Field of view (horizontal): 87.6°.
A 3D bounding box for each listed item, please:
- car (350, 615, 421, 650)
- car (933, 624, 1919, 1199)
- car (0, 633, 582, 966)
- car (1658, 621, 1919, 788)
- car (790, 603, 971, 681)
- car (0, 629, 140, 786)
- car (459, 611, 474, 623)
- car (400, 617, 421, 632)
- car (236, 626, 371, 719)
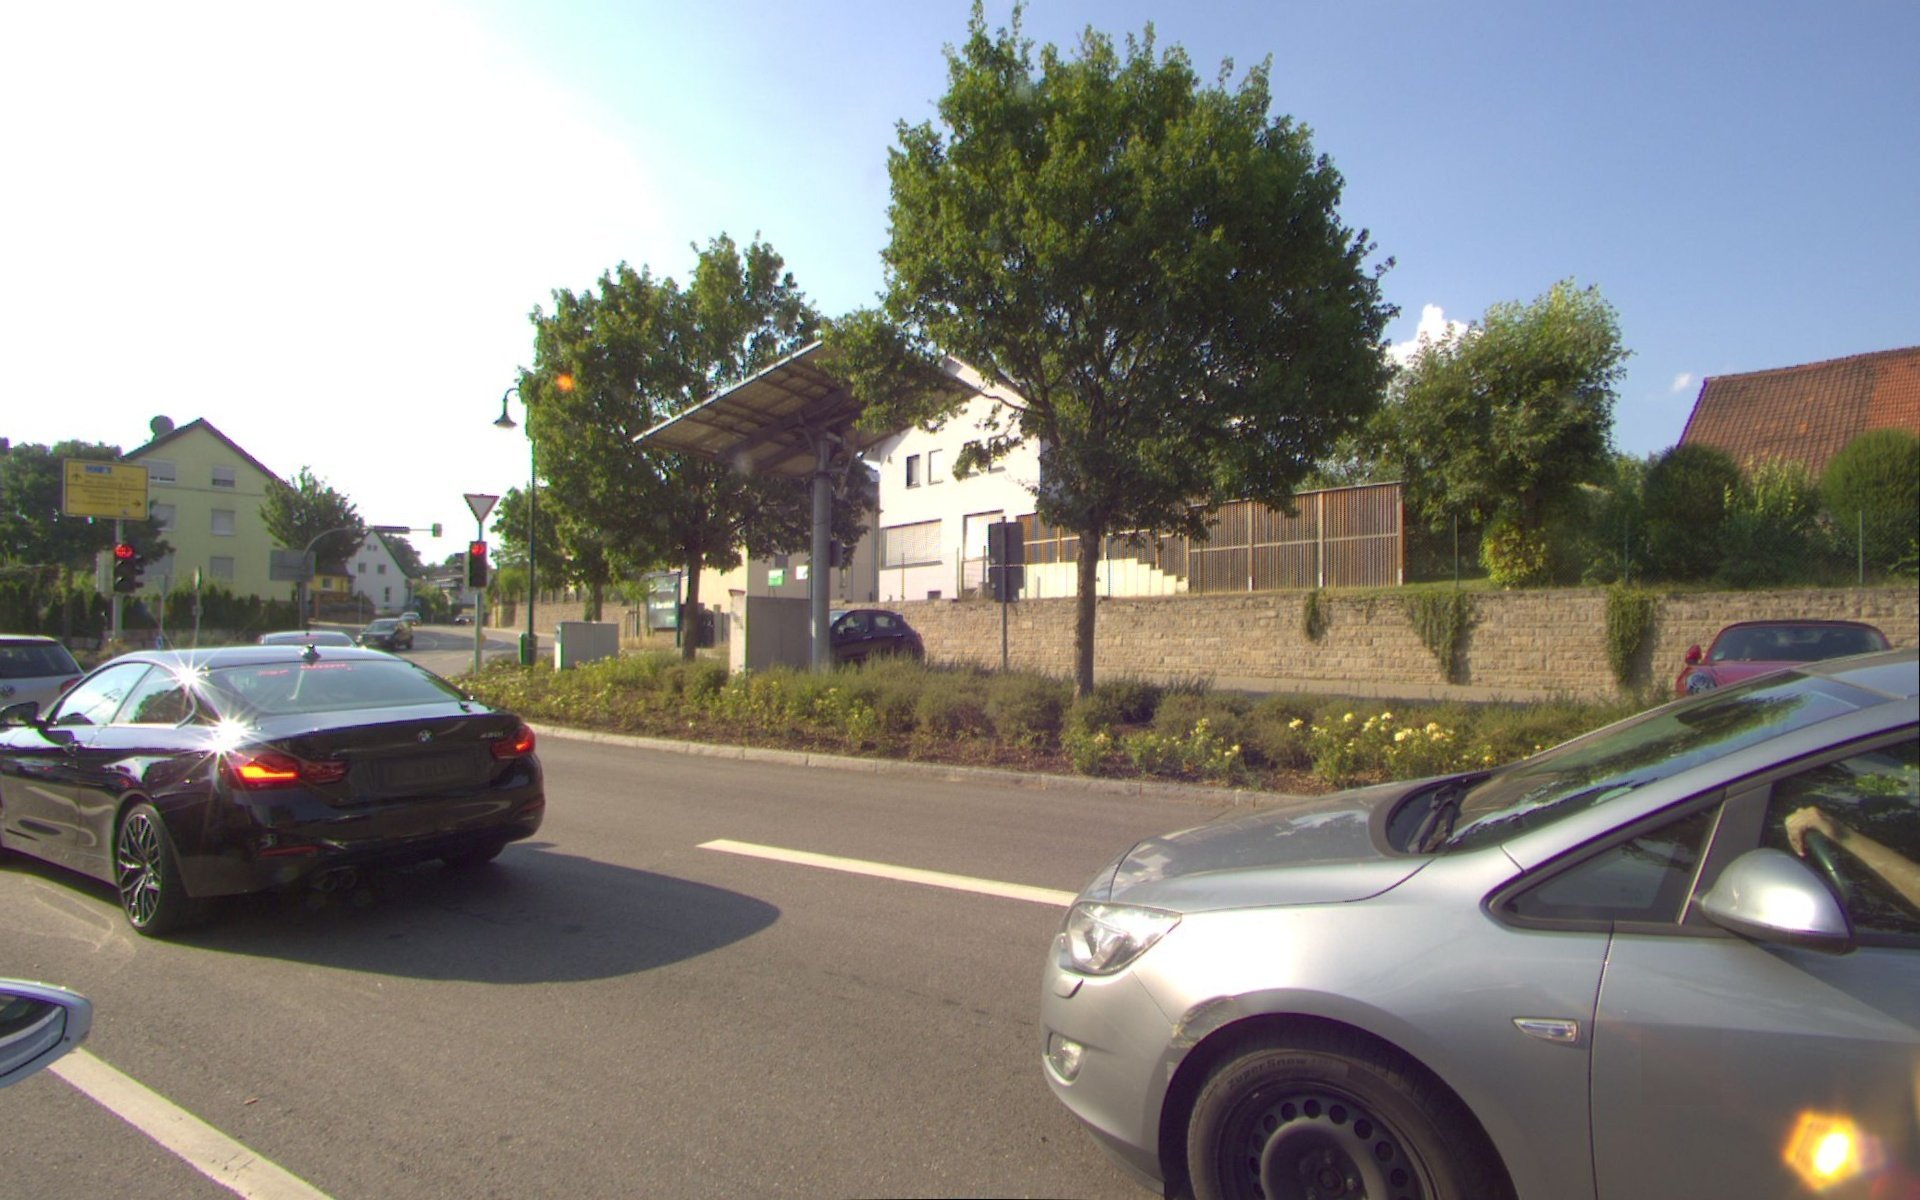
[{"bbox_3d":[-28.649,1.584,50.078,1.758,1.528,4.065,0,1,-9],"label":"car"},{"bbox_3d":[2.122,0.788,2.211,4.107,1.460,1.741,-1,-2,32],"label":"car"},{"bbox_3d":[-4.456,0.913,6.227,4.287,1.406,1.812,-1,-2,34],"label":"car"},{"bbox_3d":[8.246,0.874,9.676,1.835,1.288,3.964,-1,-2,45],"label":"car"},{"bbox_3d":[-1.758,0.953,23.059,1.835,1.628,3.964,-1,-2,45],"label":"car"},{"bbox_3d":[-10.660,1.046,10.680,4.287,1.465,1.812,-1,-2,34],"label":"car"},{"bbox_3d":[-72.568,2.515,147.201,1.753,1.600,3.989,1,-2,-22],"label":"car"},{"bbox_3d":[-56.326,2.494,102.716,1.690,1.261,3.981,1,2,-26],"label":"car"},{"bbox_3d":[-11.795,1.196,17.869,1.667,1.454,4.555,1,-2,-38],"label":"car"}]
